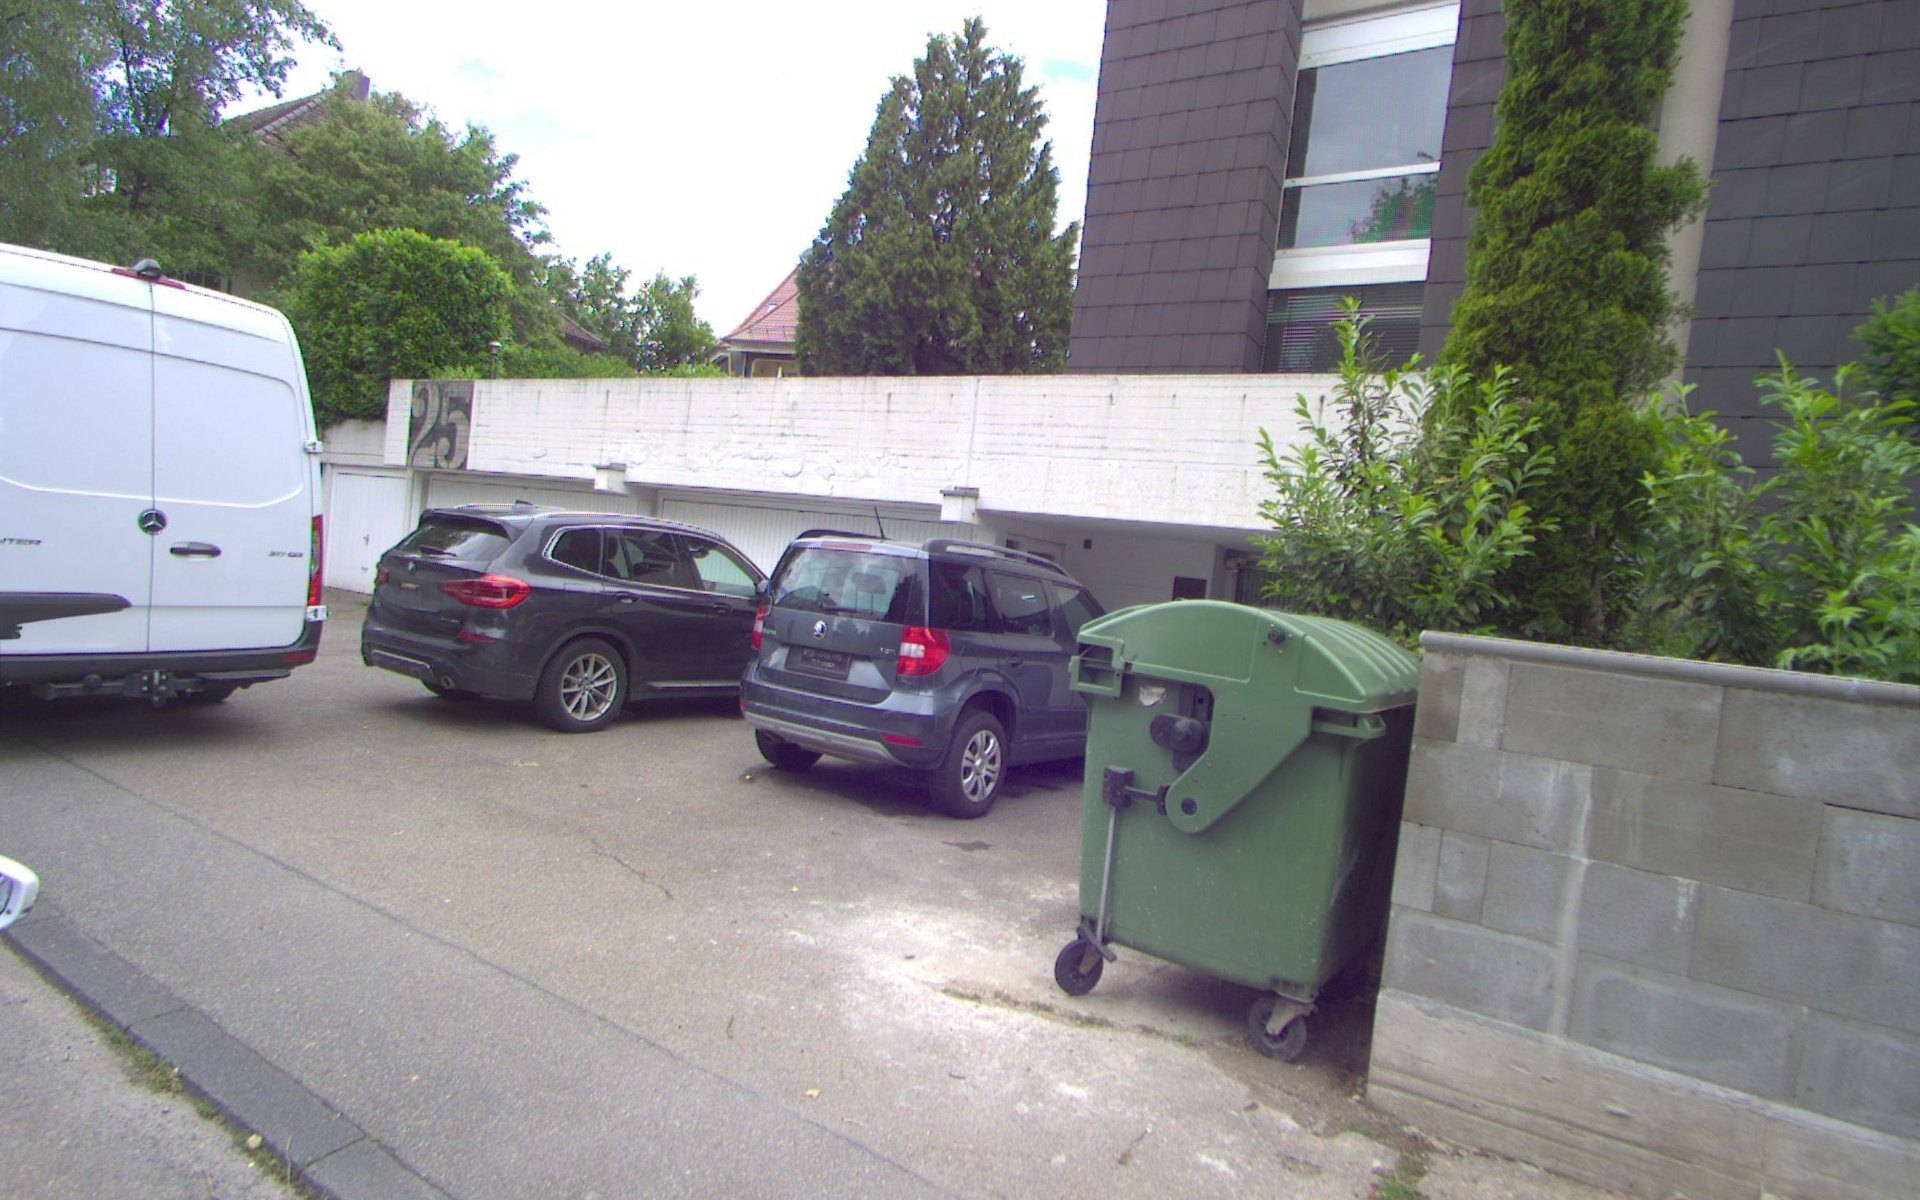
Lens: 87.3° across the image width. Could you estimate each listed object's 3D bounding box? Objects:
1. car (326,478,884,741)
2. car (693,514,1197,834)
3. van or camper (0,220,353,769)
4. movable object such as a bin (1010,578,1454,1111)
[{"bbox_3d":[-2.788,0.097,8.936,1.800,1.674,4.394,7,2,33],"label":"car"},{"bbox_3d":[0.134,0.456,7.607,1.801,1.674,3.796,7,2,35],"label":"car"},{"bbox_3d":[-7.016,-0.800,7.065,6.252,2.664,1.963,7,4,31],"label":"van or camper"},{"bbox_3d":[1.069,0.732,3.780,1.161,1.470,1.300,7,2,31],"label":"movable object such as a bin"}]
